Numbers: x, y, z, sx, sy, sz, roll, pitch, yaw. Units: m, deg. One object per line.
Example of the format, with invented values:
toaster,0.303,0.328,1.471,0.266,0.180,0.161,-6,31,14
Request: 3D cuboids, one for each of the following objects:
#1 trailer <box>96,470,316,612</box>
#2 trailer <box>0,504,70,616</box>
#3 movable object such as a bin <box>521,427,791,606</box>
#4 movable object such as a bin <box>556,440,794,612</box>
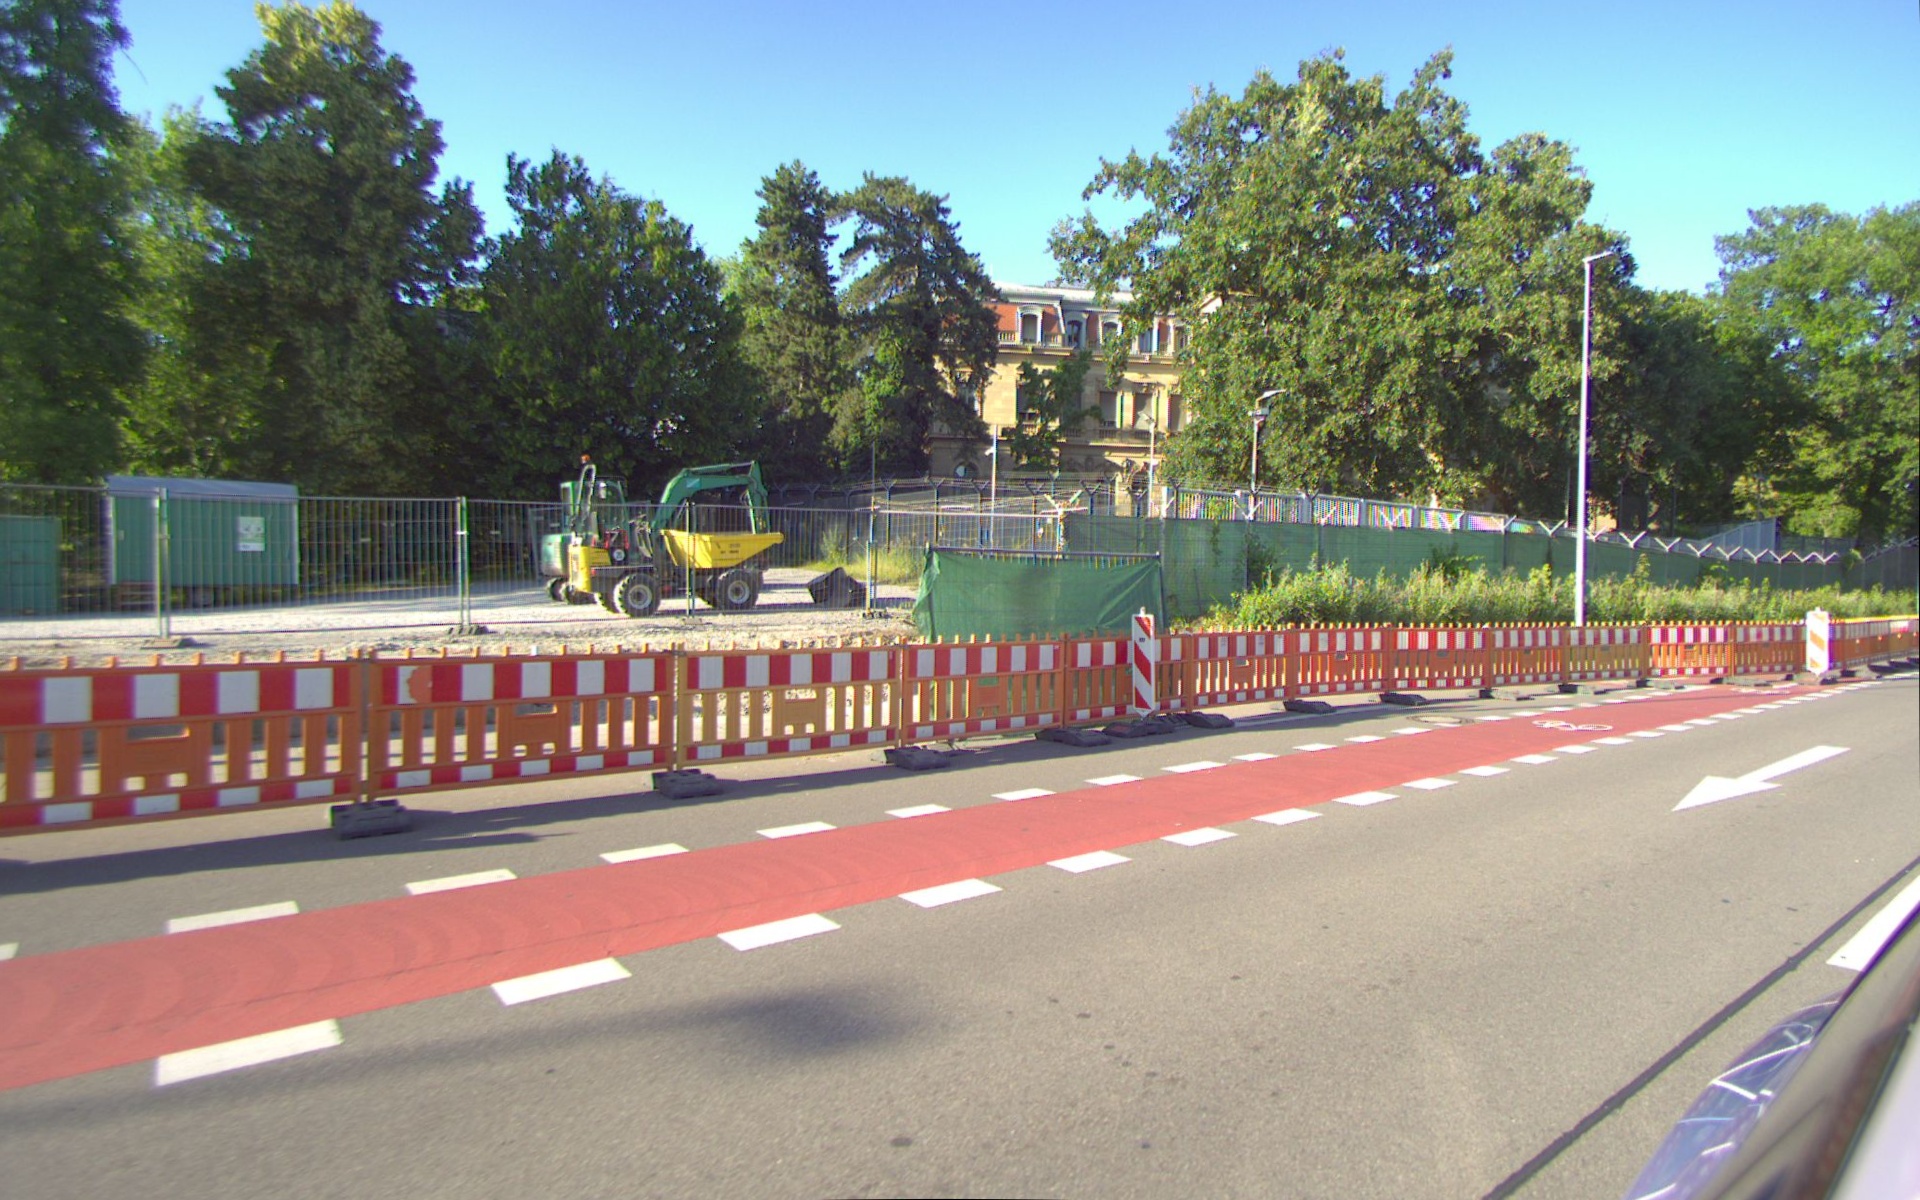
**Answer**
trailer,-18.502,-1.534,24.898,3.921,3.126,2.614,-7,7,-41
trailer,-21.447,-0.886,22.579,2.188,2.349,2.952,-7,7,-41
movable object such as a bin,-6.797,-1.725,22.841,5.393,3.601,2.284,0,1,-34
movable object such as a bin,-5.379,-1.289,19.133,3.921,2.940,2.002,0,1,-31
